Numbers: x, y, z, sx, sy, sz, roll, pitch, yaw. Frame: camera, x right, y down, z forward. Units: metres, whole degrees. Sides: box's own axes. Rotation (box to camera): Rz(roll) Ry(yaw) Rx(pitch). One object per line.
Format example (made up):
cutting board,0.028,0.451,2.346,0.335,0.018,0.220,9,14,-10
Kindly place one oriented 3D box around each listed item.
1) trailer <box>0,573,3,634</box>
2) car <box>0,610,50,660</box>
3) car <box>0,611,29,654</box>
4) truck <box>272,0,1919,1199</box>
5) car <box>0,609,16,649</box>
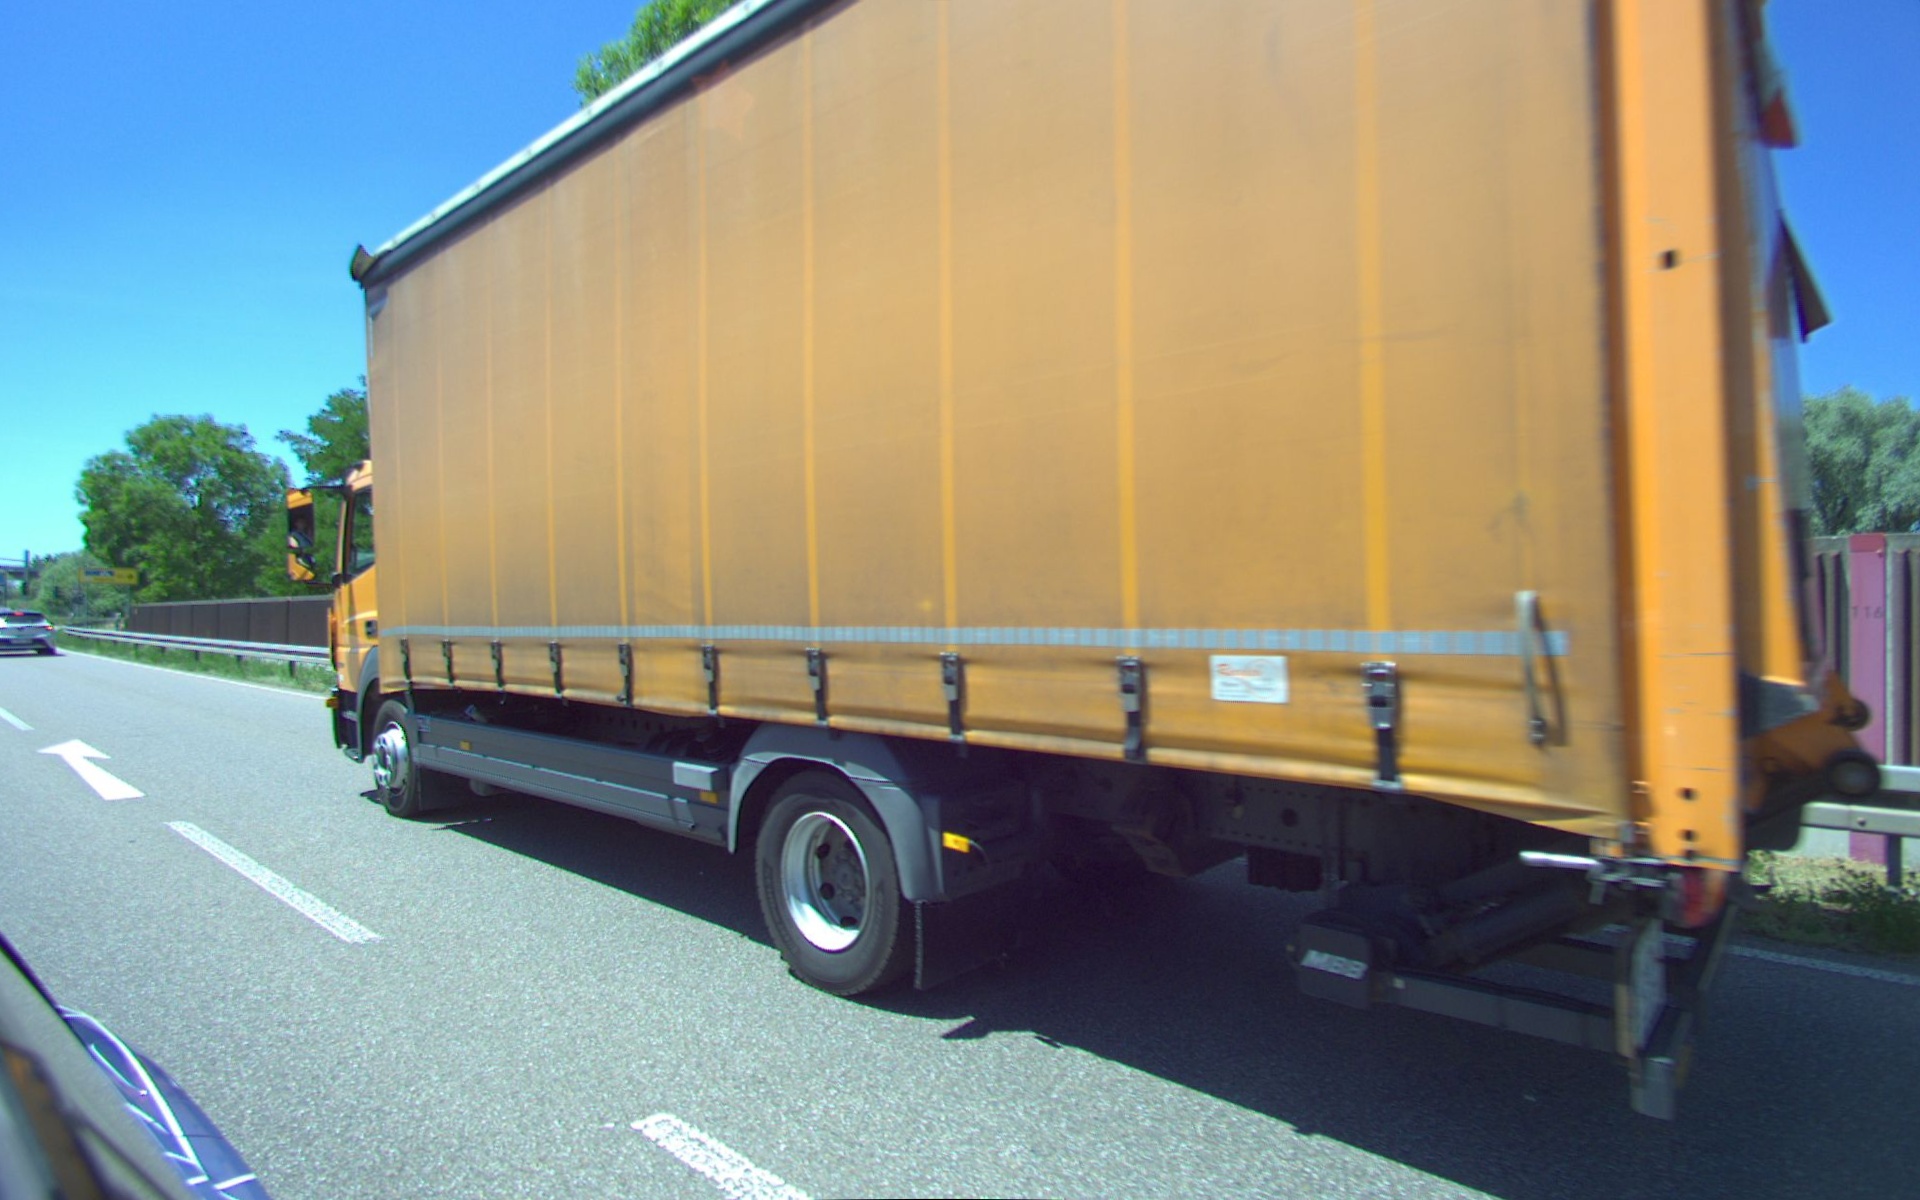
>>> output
trailer,-70.389,0.282,71.862,14.125,4.075,2.660,-1,0,43
car,-30.356,1.088,32.213,4.616,1.471,1.667,-1,0,43
car,-35.499,1.173,37.184,4.617,1.471,1.666,-1,0,44
truck,-0.837,-0.498,5.640,9.320,3.869,2.763,0,0,42
car,-40.979,1.211,42.569,4.281,1.644,1.735,-1,-1,45
